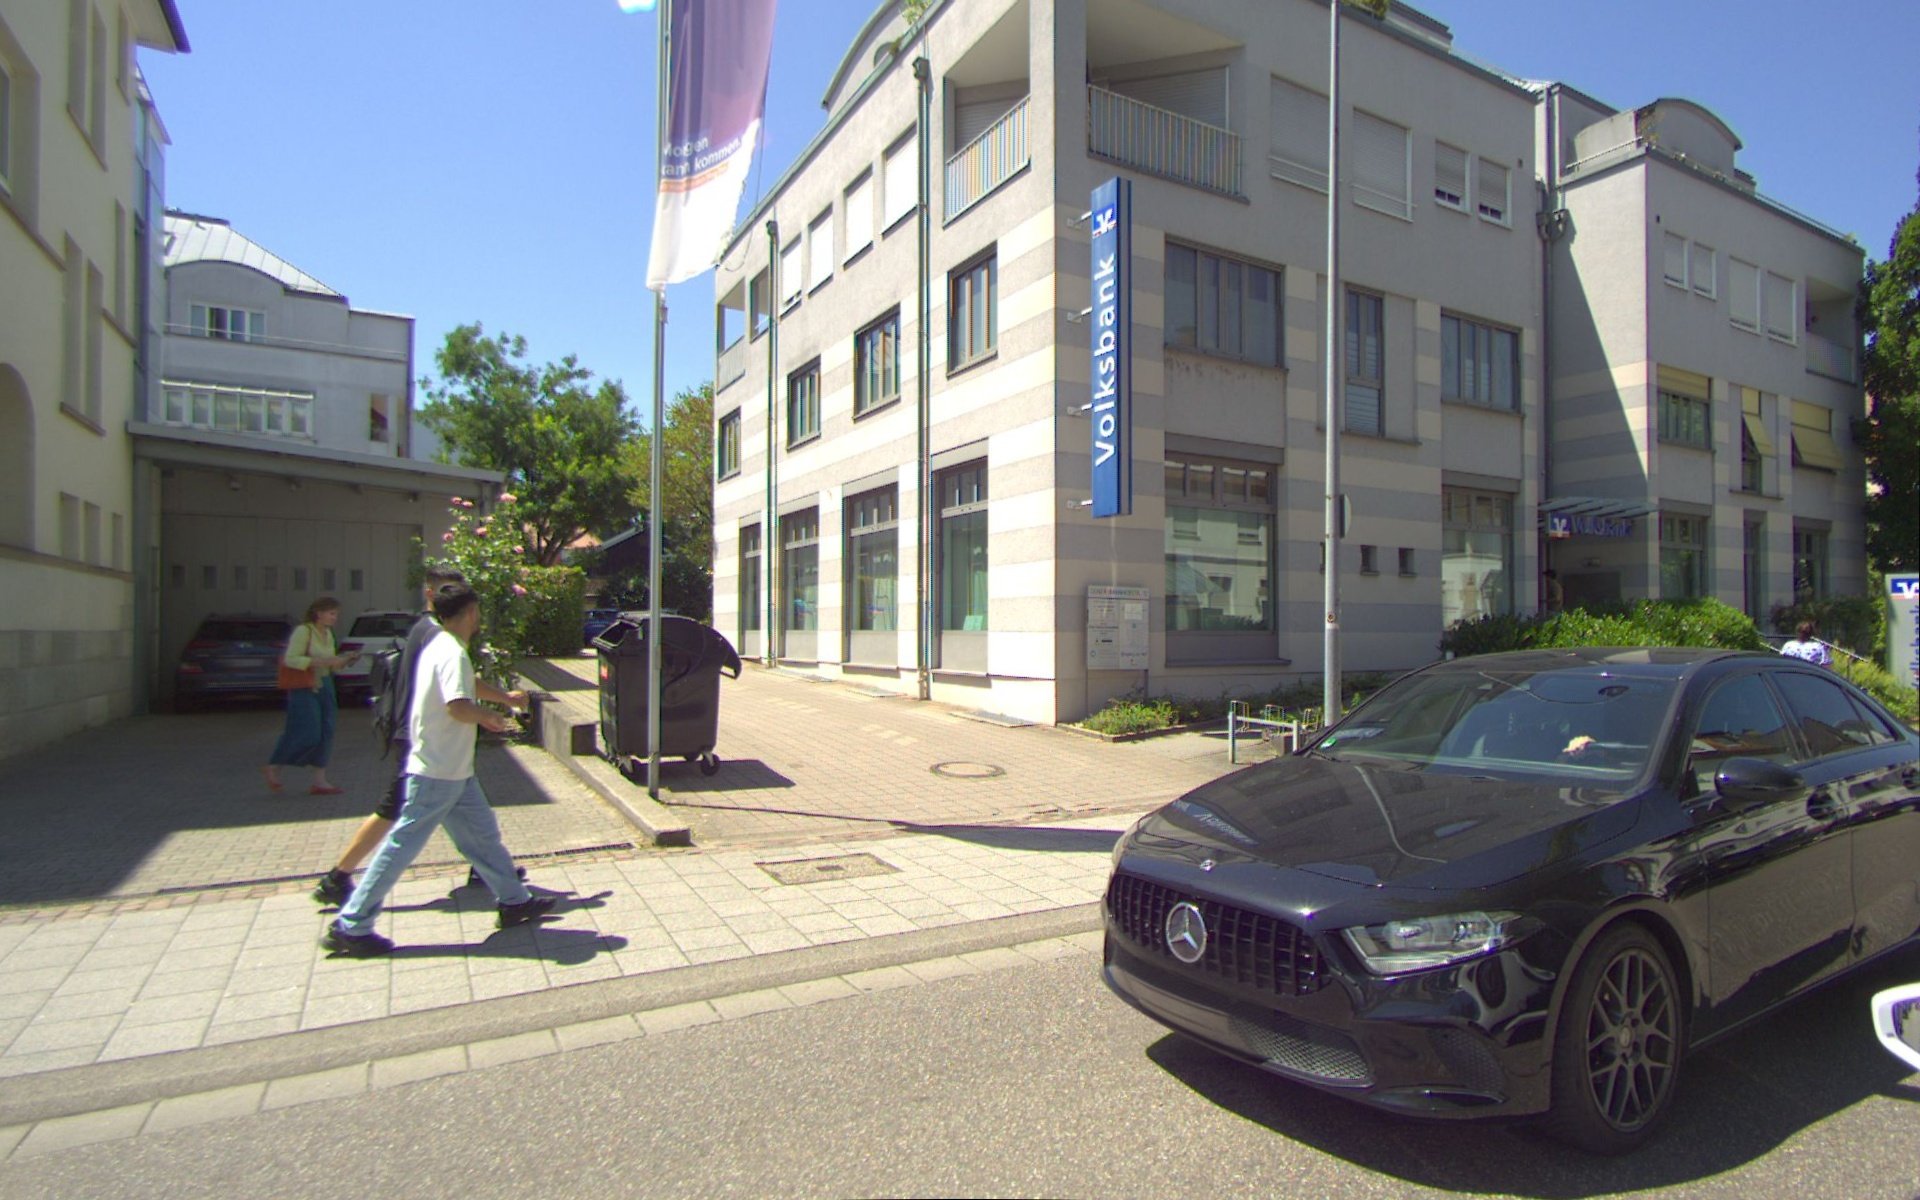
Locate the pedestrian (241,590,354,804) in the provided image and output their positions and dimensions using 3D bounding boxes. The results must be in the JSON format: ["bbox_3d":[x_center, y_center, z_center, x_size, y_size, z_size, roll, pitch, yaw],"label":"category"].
[{"bbox_3d":[-5.520,0.785,8.411,0.726,1.696,0.537,1,-2,-31],"label":"pedestrian"}]

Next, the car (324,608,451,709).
[{"bbox_3d":[-10.251,0.999,18.067,1.772,1.600,3.850,1,-2,-29],"label":"car"}]

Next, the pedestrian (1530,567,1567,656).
[{"bbox_3d":[11.879,0.245,20.281,0.570,1.762,0.611,0,-1,25],"label":"pedestrian"}]

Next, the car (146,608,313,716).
[{"bbox_3d":[-12.130,0.995,16.926,1.772,1.600,3.851,2,-2,-29],"label":"car"}]

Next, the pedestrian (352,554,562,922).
[{"bbox_3d":[-2.734,0.686,5.469,0.940,1.794,0.744,1,-1,-31],"label":"pedestrian"}]

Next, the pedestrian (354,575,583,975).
[{"bbox_3d":[-2.321,0.747,4.752,0.893,1.699,0.618,1,1,-31],"label":"pedestrian"}]

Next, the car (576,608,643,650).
[{"bbox_3d":[-14.735,1.211,42.430,1.821,1.684,3.931,1,-2,-6],"label":"car"}]

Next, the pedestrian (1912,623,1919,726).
[{"bbox_3d":[16.296,1.235,16.680,0.700,1.707,0.534,1,-1,-30],"label":"pedestrian"}]

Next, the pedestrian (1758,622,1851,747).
[{"bbox_3d":[11.728,1.143,13.951,0.839,1.666,0.745,1,-2,-31],"label":"pedestrian"}]

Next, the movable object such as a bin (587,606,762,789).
[{"bbox_3d":[-2.719,0.849,9.473,1.279,1.508,1.380,1,1,-30],"label":"movable object such as a bin"}]

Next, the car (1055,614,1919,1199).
[{"bbox_3d":[2.649,0.852,4.328,4.212,1.531,1.821,1,-2,-30],"label":"car"}]
